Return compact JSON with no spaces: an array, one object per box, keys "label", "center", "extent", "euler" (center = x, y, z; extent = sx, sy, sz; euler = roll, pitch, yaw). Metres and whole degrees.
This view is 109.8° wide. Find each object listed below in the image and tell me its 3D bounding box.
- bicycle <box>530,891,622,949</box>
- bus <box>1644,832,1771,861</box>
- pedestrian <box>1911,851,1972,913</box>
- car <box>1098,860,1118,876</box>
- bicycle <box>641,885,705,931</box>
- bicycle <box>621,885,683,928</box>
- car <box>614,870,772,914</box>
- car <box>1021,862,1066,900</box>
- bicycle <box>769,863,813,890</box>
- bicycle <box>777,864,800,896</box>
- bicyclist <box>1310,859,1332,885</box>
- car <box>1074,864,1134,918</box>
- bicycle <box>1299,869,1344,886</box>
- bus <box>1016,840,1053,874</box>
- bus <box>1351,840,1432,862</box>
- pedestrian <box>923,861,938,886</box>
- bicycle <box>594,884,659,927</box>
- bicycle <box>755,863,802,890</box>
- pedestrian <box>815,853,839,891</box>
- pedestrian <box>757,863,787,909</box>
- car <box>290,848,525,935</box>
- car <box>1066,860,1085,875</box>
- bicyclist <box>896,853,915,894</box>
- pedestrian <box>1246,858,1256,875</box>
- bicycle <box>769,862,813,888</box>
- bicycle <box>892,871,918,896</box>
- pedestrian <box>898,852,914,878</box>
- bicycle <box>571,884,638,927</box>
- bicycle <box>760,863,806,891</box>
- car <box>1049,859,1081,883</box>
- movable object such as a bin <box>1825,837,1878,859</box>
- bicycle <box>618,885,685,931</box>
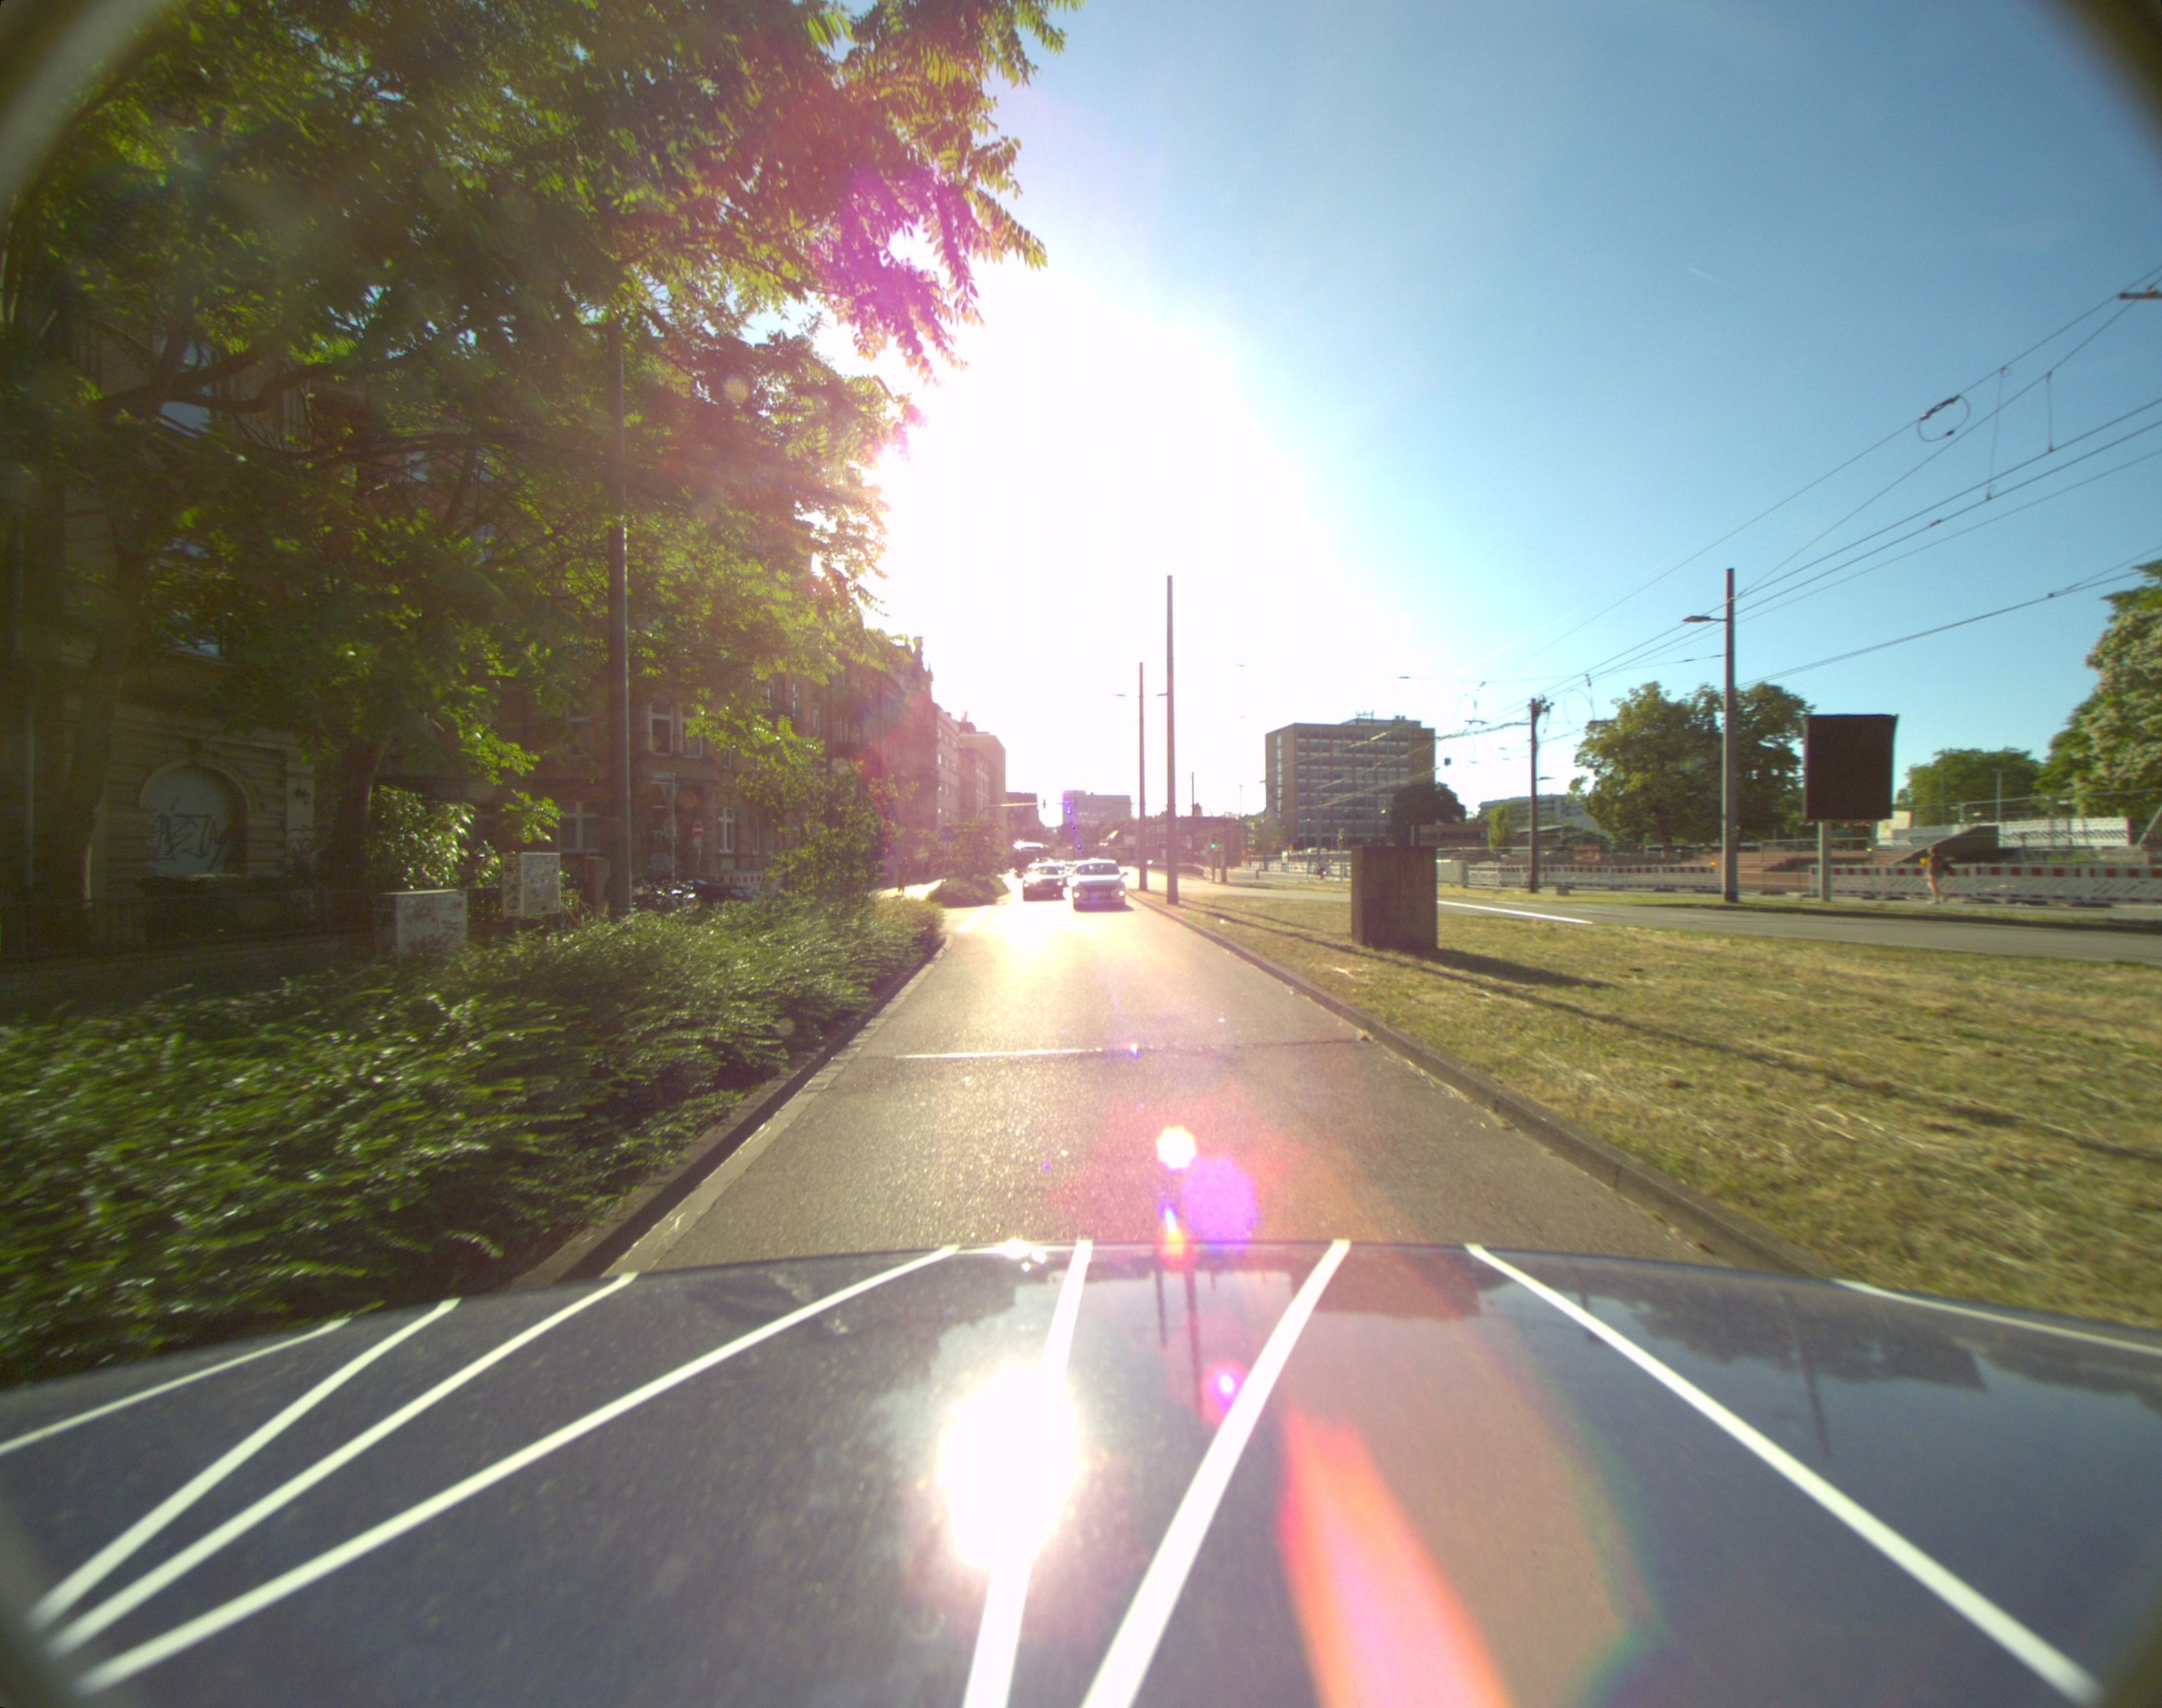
[{"label":"bicycle","center":[-9.220,1.181,13.958],"extent":[0.526,0.982,1.723],"euler":[0,-3,-1]},{"label":"bus","center":[82.413,-0.916,100.280],"extent":[12.626,3.173,3.259],"euler":[-3,-4,45]},{"label":"pedestrian","center":[24.857,0.813,21.962],"extent":[0.730,1.762,0.863],"euler":[0,-2,-2]},{"label":"car","center":[3.039,1.620,86.869],"extent":[1.999,1.666,4.282],"euler":[-2,1,-1]},{"label":"bicycle","center":[-9.738,1.269,18.198],"extent":[0.519,1.041,1.821],"euler":[0,-3,0]},{"label":"bicycle","center":[-10.838,1.320,19.262],"extent":[0.519,1.041,1.821],"euler":[0,-3,0]},{"label":"car","center":[-12.739,1.254,25.124],"extent":[4.261,1.406,1.814],"euler":[0,-3,1]},{"label":"car","center":[-1.526,1.074,32.121],"extent":[1.694,1.380,3.831],"euler":[-3,0,-1]},{"label":"bicycle","center":[-13.543,1.030,35.499],"extent":[1.890,1.232,0.490],"euler":[0,2,-11]},{"label":"bicycle","center":[-12.143,1.065,31.560],"extent":[0.490,1.232,1.887],"euler":[0,1,-8]},{"label":"bicyclist","center":[16.652,1.248,52.757],"extent":[1.317,1.797,0.967],"euler":[-1,-3,8]},{"label":"car","center":[0.743,1.126,24.467],"extent":[1.720,1.483,3.871],"euler":[-3,0,2]},{"label":"bicycle","center":[16.692,1.658,52.736],"extent":[2.820,1.090,0.967],"euler":[-1,-3,8]},{"label":"bus","center":[-4.574,0.278,76.702],"extent":[2.722,3.162,12.542],"euler":[0,0,1]},{"label":"bus","center":[52.591,-0.459,129.285],"extent":[12.626,3.173,2.848],"euler":[-3,-4,45]},{"label":"pedestrian","center":[-10.176,1.293,51.380],"extent":[0.704,1.646,1.137],"euler":[-1,0,1]},{"label":"bicycle","center":[-11.481,1.296,19.268],"extent":[0.519,1.041,1.821],"euler":[0,-3,0]},{"label":"bicycle","center":[-13.648,1.013,34.296],"extent":[1.890,1.232,0.490],"euler":[0,2,-11]},{"label":"pedestrian","center":[-13.143,0.903,39.297],"extent":[0.824,1.918,1.137],"euler":[-1,0,1]},{"label":"pedestrian","center":[-10.486,1.075,25.792],"extent":[0.701,1.525,0.663],"euler":[0,0,42]},{"label":"car","center":[-17.667,0.990,20.096],"extent":[4.588,2.111,1.776],"euler":[-1,-3,-1]},{"label":"car","center":[-0.533,1.443,79.681],"extent":[1.783,1.455,3.915],"euler":[-1,0,2]},{"label":"bicyclist","center":[-8.009,0.885,34.699],"extent":[0.643,1.804,1.052],"euler":[0,1,0]},{"label":"pedestrian","center":[18.750,1.398,83.834],"extent":[0.804,1.757,1.180],"euler":[0,-3,1]},{"label":"bicycle","center":[-13.748,0.998,36.040],"extent":[1.890,1.232,0.490],"euler":[0,2,-11]},{"label":"bicycle","center":[-8.000,1.328,34.624],"extent":[0.643,1.042,2.360],"euler":[0,1,0]},{"label":"pedestrian","center":[-12.953,0.830,56.235],"extent":[0.824,1.918,1.137],"euler":[-1,0,1]},{"label":"bicycle","center":[-12.034,1.293,19.255],"extent":[0.519,1.041,1.821],"euler":[0,-3,0]},{"label":"bicycle","center":[-13.669,1.044,34.884],"extent":[1.890,1.232,0.490],"euler":[0,2,-11]},{"label":"car","center":[-0.992,1.116,47.614],"extent":[1.825,1.379,4.459],"euler":[2,-2,-1]},{"label":"movable object such as a bin","center":[74.858,-0.561,73.806],"extent":[4.004,2.001,1.998],"euler":[1,-3,-19]},{"label":"bicycle","center":[-10.251,1.267,18.205],"extent":[0.519,1.041,1.821],"euler":[0,-3,0]}]
